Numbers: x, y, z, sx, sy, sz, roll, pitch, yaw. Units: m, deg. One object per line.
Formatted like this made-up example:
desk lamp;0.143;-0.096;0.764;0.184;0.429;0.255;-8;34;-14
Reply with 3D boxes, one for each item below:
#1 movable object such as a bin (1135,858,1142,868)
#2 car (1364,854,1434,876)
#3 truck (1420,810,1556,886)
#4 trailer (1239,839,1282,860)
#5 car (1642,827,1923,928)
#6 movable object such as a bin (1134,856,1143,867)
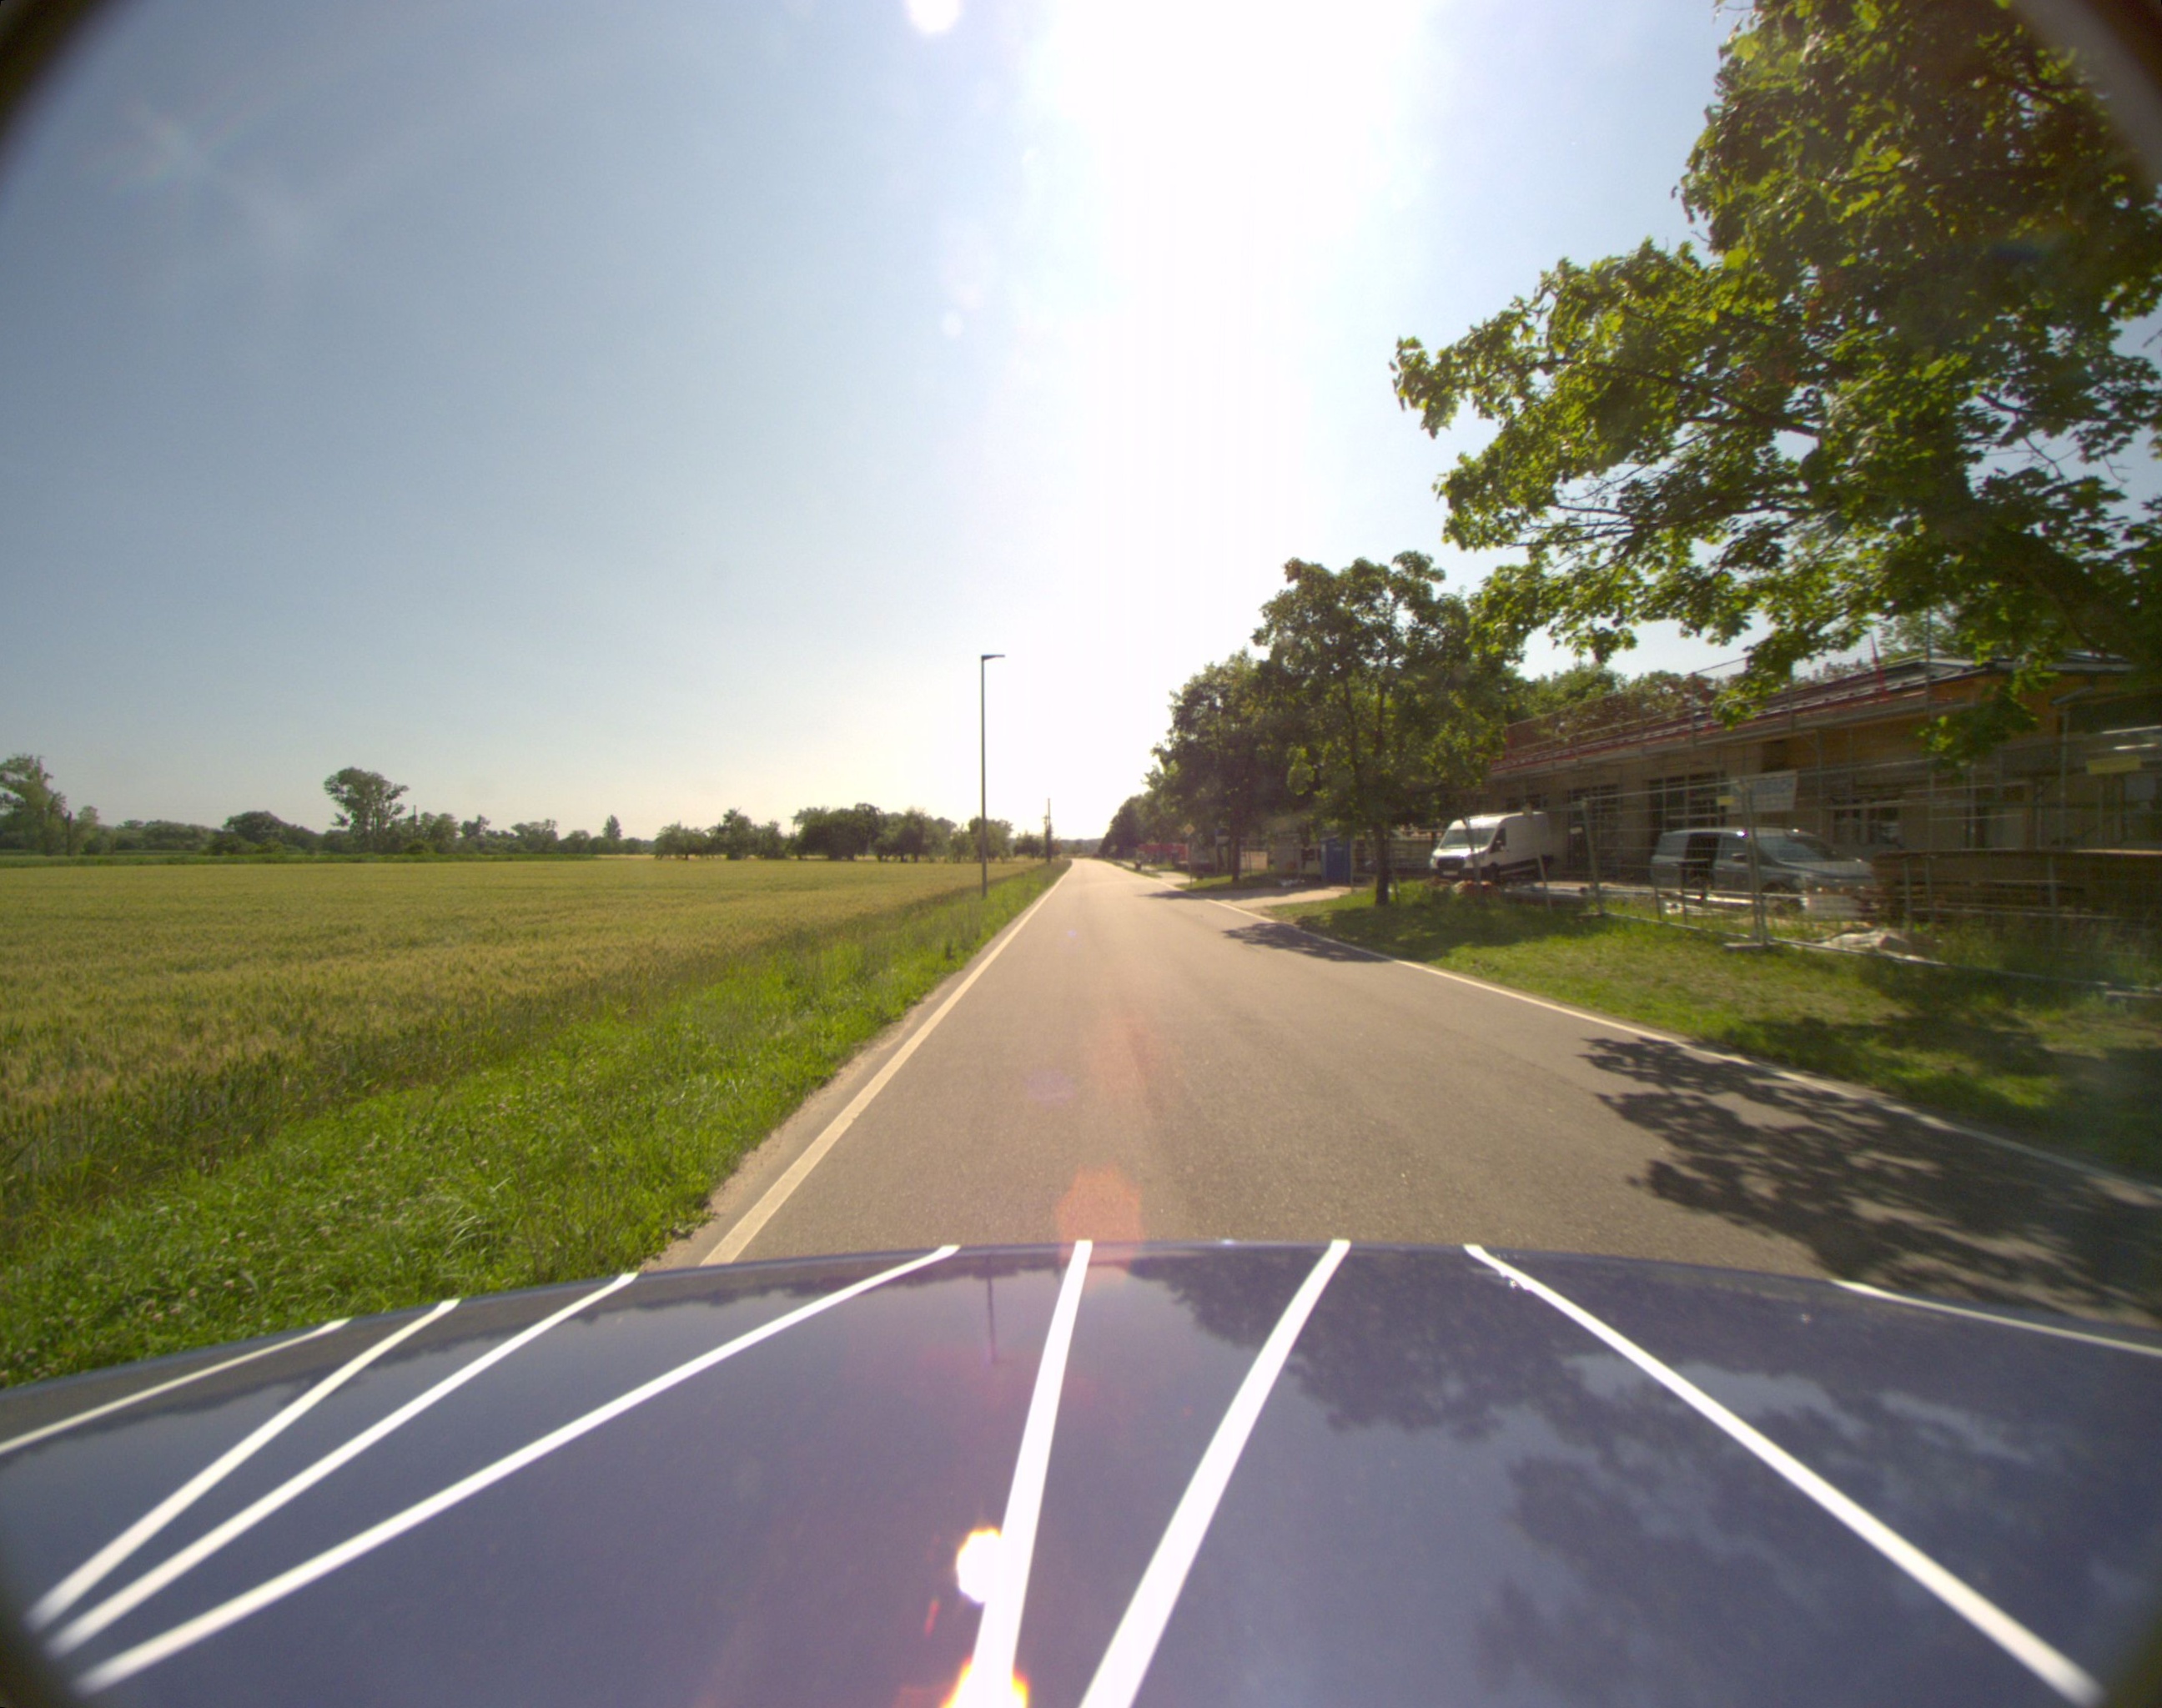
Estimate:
movable object such as a bin;5.152;0.789;68.247;0.563;0.872;0.614;0;1;8
car;20.599;0.703;49.290;3.812;1.391;1.758;0;1;-7
truck;14.792;-0.252;27.453;5.943;2.469;1.994;-1;1;-36
trailer;20.047;-0.482;84.924;4.239;2.264;1.826;0;1;-13
car;14.514;0.411;16.157;1.975;1.827;4.328;-1;1;0
movable object such as a bin;5.228;0.704;68.943;0.700;1.018;0.748;0;1;8
